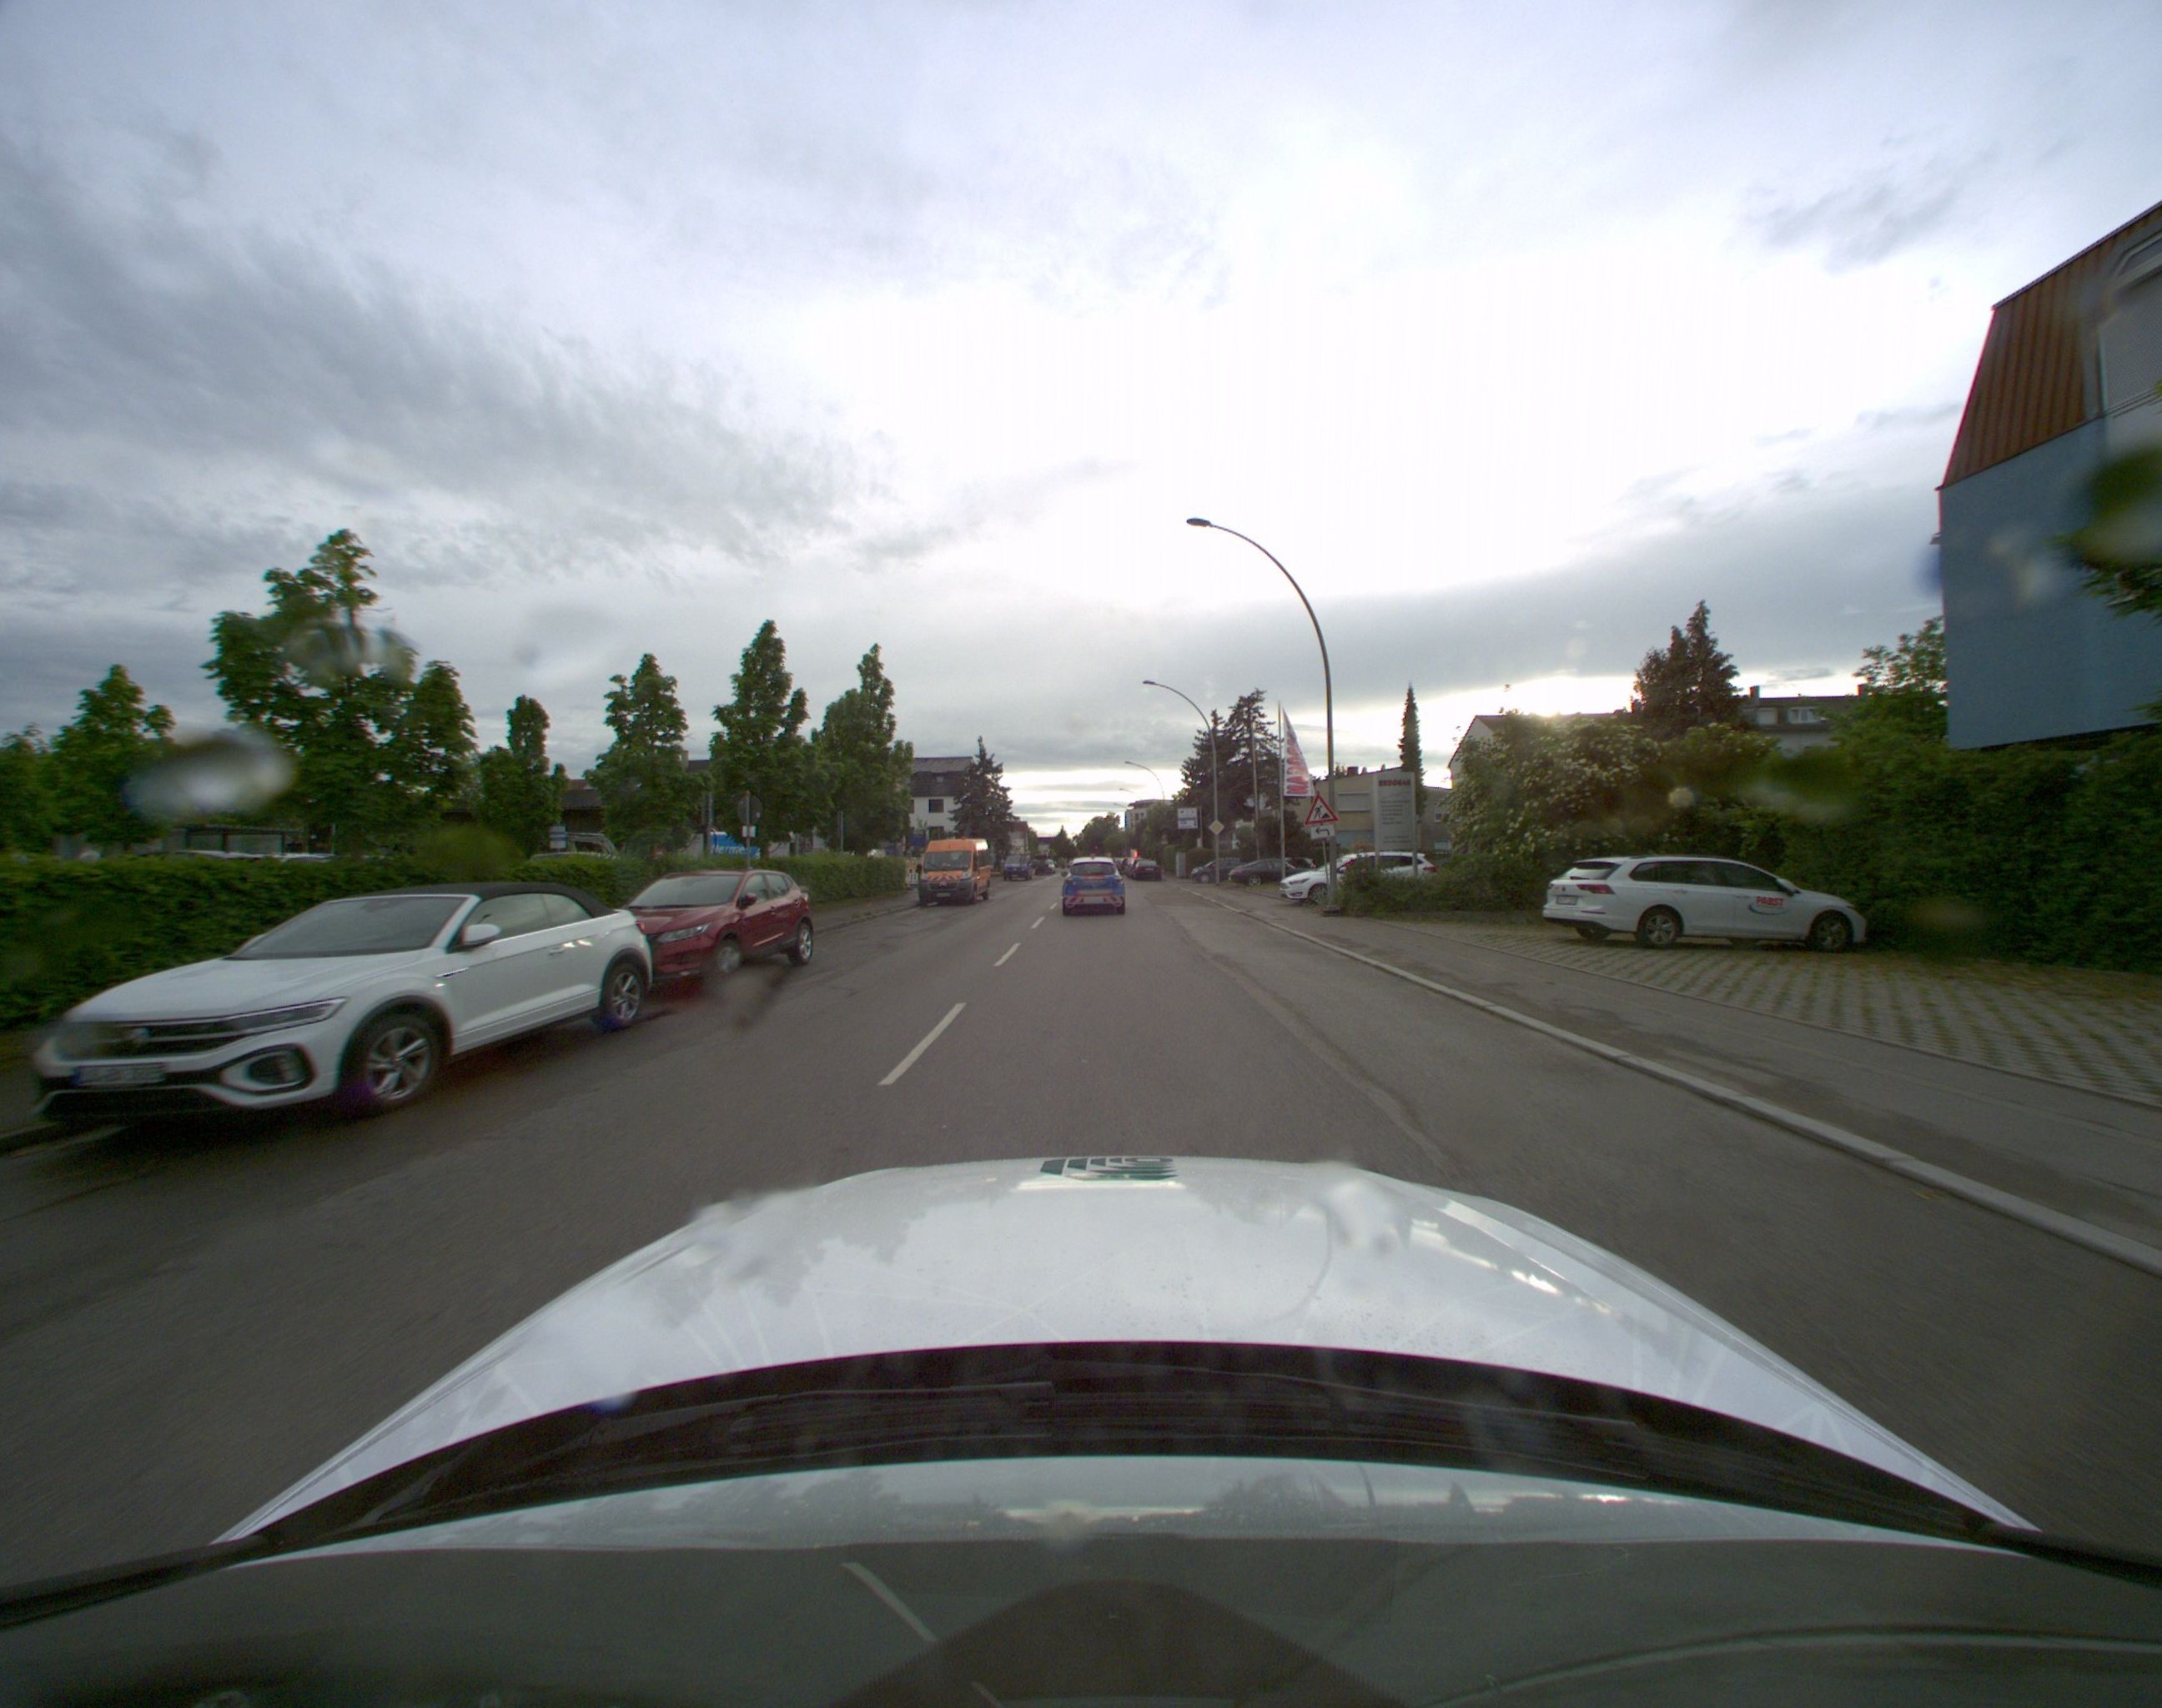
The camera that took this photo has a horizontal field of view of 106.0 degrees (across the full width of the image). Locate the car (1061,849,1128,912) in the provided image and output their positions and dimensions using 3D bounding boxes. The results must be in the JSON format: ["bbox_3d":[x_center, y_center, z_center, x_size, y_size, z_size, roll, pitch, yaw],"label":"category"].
[{"bbox_3d":[0.369,0.727,23.259,1.726,1.631,3.494,-1,-1,0],"label":"car"}]

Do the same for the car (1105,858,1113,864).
[{"bbox_3d":[6.474,1.594,188.507,1.645,1.483,3.998,0,-1,-1],"label":"car"}]

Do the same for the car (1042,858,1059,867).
[{"bbox_3d":[-6.007,1.652,158.409,3.274,1.448,1.478,-2,0,-4],"label":"car"}]

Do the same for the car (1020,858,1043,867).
[{"bbox_3d":[-7.984,1.370,131.566,3.572,1.526,1.653,0,-1,-3],"label":"car"}]

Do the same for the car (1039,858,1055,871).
[{"bbox_3d":[-3.677,1.127,88.970,1.551,1.433,4.001,0,-1,1],"label":"car"}]

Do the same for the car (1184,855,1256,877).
[{"bbox_3d":[8.285,0.704,48.845,3.975,1.266,1.950,0,-1,-1],"label":"car"}]

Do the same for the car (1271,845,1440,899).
[{"bbox_3d":[7.980,0.509,23.964,4.324,1.475,1.902,-1,-1,0],"label":"car"}]

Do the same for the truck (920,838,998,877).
[{"bbox_3d":[-9.931,0.296,66.673,5.889,3.073,2.450,0,-1,1],"label":"truck"}]

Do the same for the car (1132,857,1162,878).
[{"bbox_3d":[4.360,0.886,54.324,1.584,1.341,4.091,1,0,0],"label":"car"}]

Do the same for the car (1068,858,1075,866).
[{"bbox_3d":[-1.878,1.682,167.395,1.382,1.483,3.782,-1,0,-1],"label":"car"}]

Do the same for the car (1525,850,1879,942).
[{"bbox_3d":[10.010,0.654,13.389,4.401,1.393,1.880,0,-1,0],"label":"car"}]

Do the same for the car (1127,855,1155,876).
[{"bbox_3d":[4.306,0.826,59.089,1.652,1.419,4.774,0,-1,-1],"label":"car"}]

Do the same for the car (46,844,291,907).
[{"bbox_3d":[-23.691,0.545,21.287,4.046,1.551,1.883,0,-1,-4],"label":"car"}]

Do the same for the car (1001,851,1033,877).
[{"bbox_3d":[-4.933,0.790,63.561,1.987,1.947,5.365,-2,-1,1],"label":"car"}]

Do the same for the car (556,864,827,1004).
[{"bbox_3d":[-5.359,0.987,11.955,1.799,1.573,4.343,-2,0,1],"label":"car"}]

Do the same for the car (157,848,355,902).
[{"bbox_3d":[-24.091,0.591,23.899,3.881,1.520,1.692,0,-1,-4],"label":"car"}]

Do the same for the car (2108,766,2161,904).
[{"bbox_3d":[14.602,-0.261,8.562,1.988,1.740,4.427,0,-1,-1],"label":"car"}]

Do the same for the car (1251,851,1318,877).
[{"bbox_3d":[12.216,0.600,49.011,3.603,1.538,1.859,0,-1,-1],"label":"car"}]

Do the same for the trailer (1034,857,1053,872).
[{"bbox_3d":[-3.761,1.021,81.364,1.712,1.260,5.243,0,1,-1],"label":"trailer"}]

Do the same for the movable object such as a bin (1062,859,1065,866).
[{"bbox_3d":[-3.290,1.609,152.411,0.577,1.204,0.319,0,-1,1],"label":"movable object such as a bin"}]

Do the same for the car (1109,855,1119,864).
[{"bbox_3d":[6.370,1.123,156.570,1.645,1.672,3.998,0,-1,-1],"label":"car"}]

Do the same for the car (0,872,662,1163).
[{"bbox_3d":[-5.446,0.980,6.719,1.766,1.498,4.137,-1,0,1],"label":"car"}]

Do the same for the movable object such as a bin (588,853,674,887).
[{"bbox_3d":[-23.507,0.826,42.654,3.417,1.759,1.996,0,-1,-6],"label":"movable object such as a bin"}]

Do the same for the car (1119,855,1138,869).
[{"bbox_3d":[5.014,0.851,86.330,1.706,1.438,4.524,0,-1,-1],"label":"car"}]

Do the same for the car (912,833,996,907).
[{"bbox_3d":[-4.854,0.560,32.047,2.117,2.537,6.023,-3,0,1],"label":"car"}]

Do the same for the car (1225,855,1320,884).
[{"bbox_3d":[8.681,0.692,37.161,3.970,1.266,1.952,0,-1,3],"label":"car"}]

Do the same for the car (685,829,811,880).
[{"bbox_3d":[-13.593,0.013,33.411,4.290,2.014,2.063,0,-1,1],"label":"car"}]

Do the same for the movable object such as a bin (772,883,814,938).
[{"bbox_3d":[-6.327,1.234,17.933,0.669,1.157,0.622,0,-1,5],"label":"movable object such as a bin"}]
